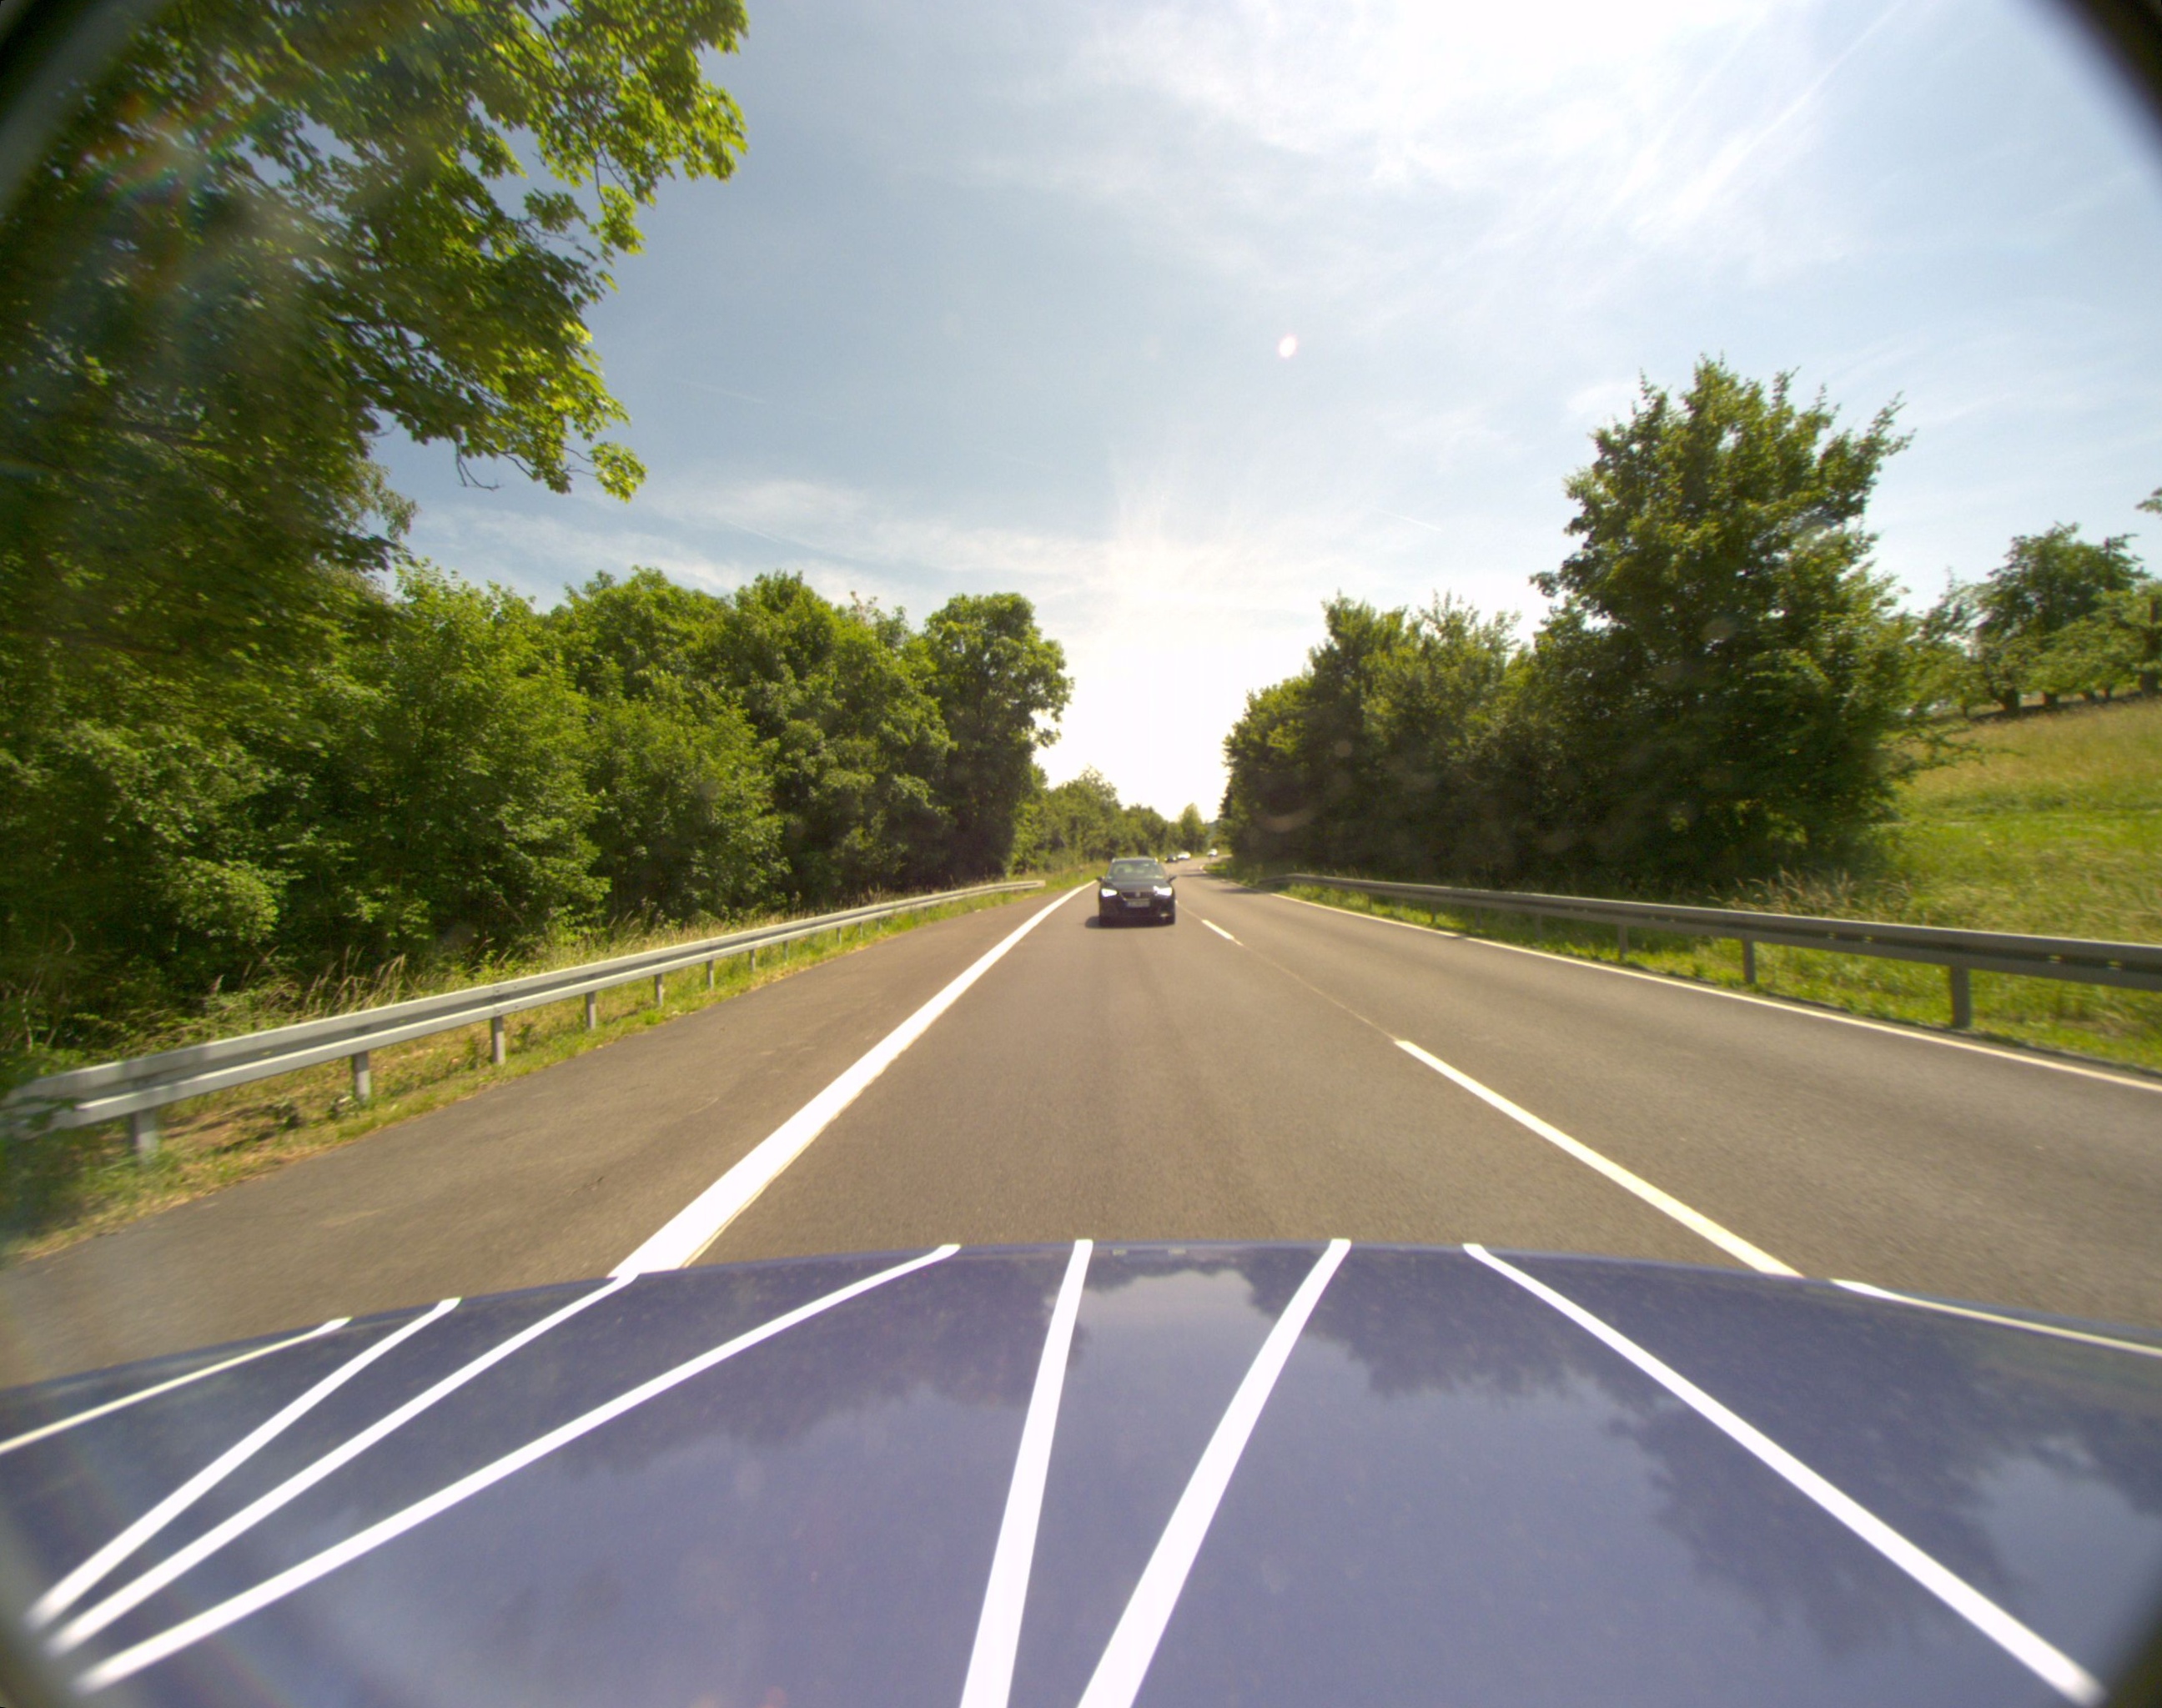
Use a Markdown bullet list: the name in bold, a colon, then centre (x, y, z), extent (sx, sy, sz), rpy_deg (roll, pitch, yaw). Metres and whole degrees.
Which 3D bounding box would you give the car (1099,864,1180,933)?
- **car**: centre (1.441, 1.008, 18.489), extent (1.737, 1.467, 4.002), rpy_deg (-1, -1, 5)

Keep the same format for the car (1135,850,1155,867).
- **car**: centre (6.939, 0.522, 81.849), extent (1.882, 1.698, 4.003), rpy_deg (-1, -1, 9)

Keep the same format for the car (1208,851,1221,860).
- **car**: centre (29.788, 0.274, 169.547), extent (1.996, 2.002, 4.006), rpy_deg (-2, 0, 20)

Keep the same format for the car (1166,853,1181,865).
- **car**: centre (14.231, 0.820, 116.440), extent (1.882, 1.698, 4.005), rpy_deg (-1, -1, 13)

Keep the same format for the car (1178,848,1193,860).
- **car**: centre (19.002, 0.027, 138.199), extent (1.996, 2.002, 4.005), rpy_deg (-1, 0, 17)
